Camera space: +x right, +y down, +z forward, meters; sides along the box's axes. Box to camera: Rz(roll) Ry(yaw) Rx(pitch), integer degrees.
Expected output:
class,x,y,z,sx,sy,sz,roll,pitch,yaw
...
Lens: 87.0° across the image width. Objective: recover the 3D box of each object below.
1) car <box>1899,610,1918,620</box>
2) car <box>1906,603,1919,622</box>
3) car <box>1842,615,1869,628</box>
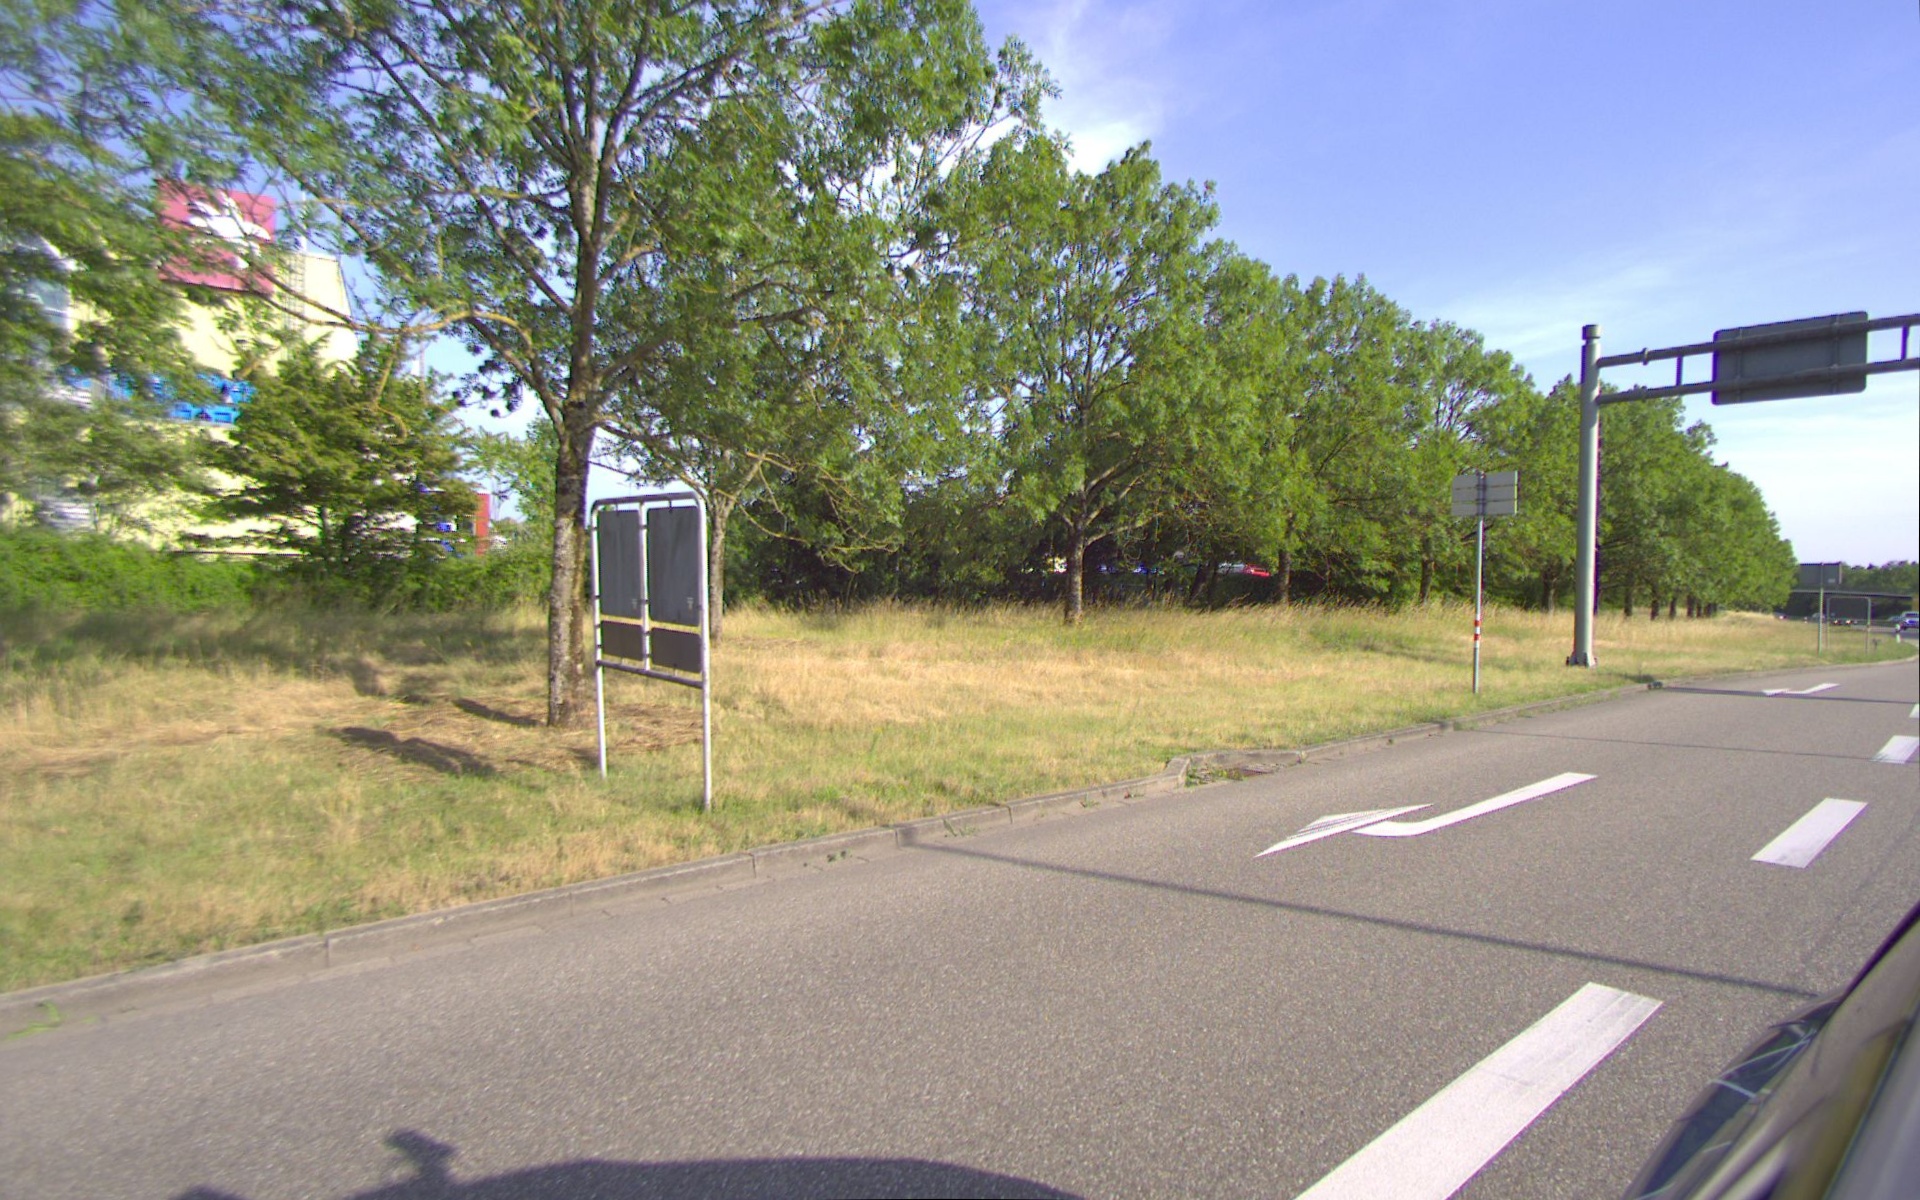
class,x,y,z,sx,sy,sz,roll,pitch,yaw
car,147.888,2.378,157.822,1.596,1.459,3.198,0,0,32
car,93.679,1.183,98.366,1.890,1.847,4.300,0,-1,35
car,105.292,2.517,118.997,1.890,1.403,4.300,0,0,35
